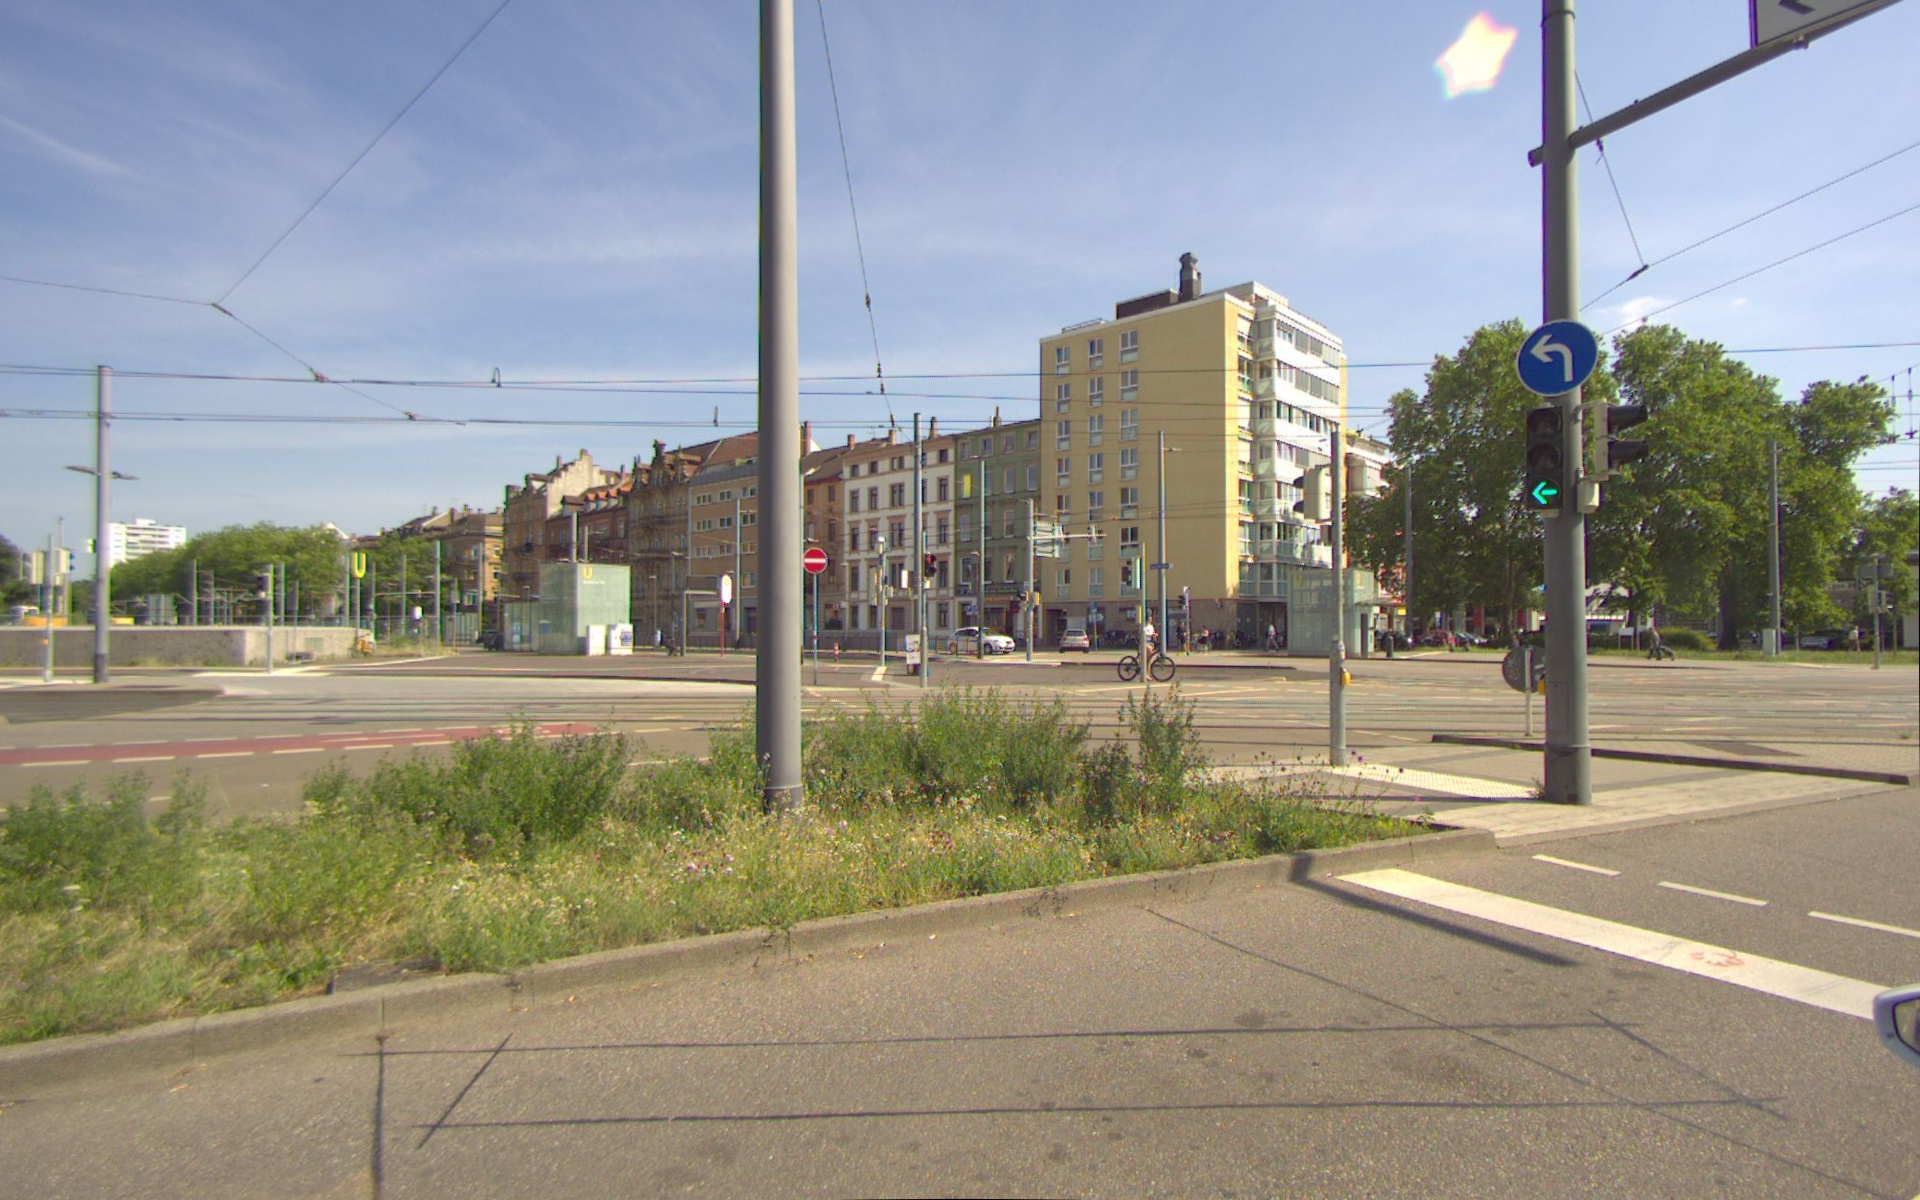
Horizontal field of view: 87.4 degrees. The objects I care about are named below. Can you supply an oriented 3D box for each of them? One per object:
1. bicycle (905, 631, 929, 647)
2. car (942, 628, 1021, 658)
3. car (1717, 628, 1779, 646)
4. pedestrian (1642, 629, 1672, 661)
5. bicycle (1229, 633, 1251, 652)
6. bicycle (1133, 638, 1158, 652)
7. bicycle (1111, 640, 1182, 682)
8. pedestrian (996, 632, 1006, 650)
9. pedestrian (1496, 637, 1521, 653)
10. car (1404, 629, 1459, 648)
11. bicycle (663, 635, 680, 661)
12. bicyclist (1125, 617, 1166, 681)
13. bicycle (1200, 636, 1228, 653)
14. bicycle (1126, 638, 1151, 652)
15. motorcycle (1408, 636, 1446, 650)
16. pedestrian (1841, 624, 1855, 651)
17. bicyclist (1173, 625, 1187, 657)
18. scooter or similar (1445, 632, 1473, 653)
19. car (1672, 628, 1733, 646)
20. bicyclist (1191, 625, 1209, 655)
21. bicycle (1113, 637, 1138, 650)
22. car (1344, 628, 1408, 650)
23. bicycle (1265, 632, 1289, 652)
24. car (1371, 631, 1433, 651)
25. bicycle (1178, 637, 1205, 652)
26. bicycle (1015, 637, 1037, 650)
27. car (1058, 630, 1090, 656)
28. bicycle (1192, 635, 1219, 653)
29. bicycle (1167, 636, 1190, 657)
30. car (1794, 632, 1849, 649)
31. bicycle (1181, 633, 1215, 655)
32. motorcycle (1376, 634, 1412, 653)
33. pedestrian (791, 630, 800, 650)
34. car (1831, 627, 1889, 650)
[{"bbox_3d":[-3.048,2.781,71.229,0.589,1.109,1.738,0,-2,43],"label":"bicycle"},{"bbox_3d":[1.114,2.277,53.656,4.067,1.417,1.749,-1,1,43],"label":"car"},{"bbox_3d":[70.316,3.251,89.698,1.977,1.572,3.967,1,-2,-31],"label":"car"},{"bbox_3d":[32.726,2.096,47.184,1.100,1.422,0.654,2,0,39],"label":"pedestrian"},{"bbox_3d":[18.344,2.778,65.752,0.534,1.201,1.878,-1,-2,45],"label":"bicycle"},{"bbox_3d":[12.727,3.069,68.928,0.579,0.928,1.737,0,-2,-39],"label":"bicycle"},{"bbox_3d":[5.035,1.644,27.258,0.745,1.098,1.828,2,-4,-40],"label":"bicycle"},{"bbox_3d":[3.188,3.180,78.278,0.637,1.392,0.524,-1,-2,43],"label":"pedestrian"},{"bbox_3d":[32.286,2.652,59.096,1.159,0.904,0.818,-1,-2,41],"label":"pedestrian"},{"bbox_3d":[38.889,3.166,82.869,3.684,1.358,1.733,1,0,44],"label":"car"},{"bbox_3d":[-13.185,2.178,45.886,0.408,1.085,1.651,0,0,-28],"label":"bicycle"},{"bbox_3d":[5.036,1.328,27.250,0.745,1.706,0.768,2,-4,-40],"label":"bicyclist"},{"bbox_3d":[16.486,2.867,65.192,0.579,1.056,1.737,0,-2,-40],"label":"bicycle"},{"bbox_3d":[12.218,3.052,68.696,0.579,0.928,1.737,0,-2,-39],"label":"bicycle"},{"bbox_3d":[28.310,2.587,60.942,1.997,0.853,0.641,0,-1,4],"label":"motorcycle"},{"bbox_3d":[53.444,2.269,60.441,0.455,1.617,0.393,2,0,-6],"label":"pedestrian"},{"bbox_3d":[12.099,2.261,55.262,0.575,1.757,0.615,-2,-3,37],"label":"bicyclist"},{"bbox_3d":[27.080,2.317,54.514,0.509,1.134,1.358,0,-1,-19],"label":"scooter or similar"},{"bbox_3d":[66.616,3.311,90.179,1.976,1.390,3.968,2,0,-30],"label":"car"},{"bbox_3d":[12.858,2.153,53.918,0.605,1.593,0.728,1,-3,-29],"label":"bicyclist"},{"bbox_3d":[11.525,3.038,70.026,1.733,0.928,0.580,-2,-2,44],"label":"bicycle"},{"bbox_3d":[30.502,2.836,73.660,3.945,1.459,1.879,1,0,44],"label":"car"},{"bbox_3d":[20.449,2.724,64.843,1.740,1.235,0.578,0,-1,-37],"label":"bicycle"},{"bbox_3d":[33.752,3.123,76.765,3.945,1.287,1.733,1,0,44],"label":"car"},{"bbox_3d":[15.294,2.944,66.334,0.579,0.978,1.736,0,-2,-41],"label":"bicycle"},{"bbox_3d":[4.980,3.297,76.291,1.755,0.977,0.412,-2,0,43],"label":"bicycle"},{"bbox_3d":[6.998,2.665,62.061,1.777,1.458,4.004,1,-4,4],"label":"car"},{"bbox_3d":[15.859,2.859,64.967,0.578,1.100,1.740,-3,0,-34],"label":"bicycle"},{"bbox_3d":[12.077,2.574,55.430,0.575,1.145,1.790,-2,-3,37],"label":"bicycle"},{"bbox_3d":[70.162,3.283,81.810,3.946,1.261,1.988,2,0,-25],"label":"car"},{"bbox_3d":[12.776,2.372,53.924,1.775,1.145,0.749,1,-2,-30],"label":"bicycle"},{"bbox_3d":[24.776,2.457,57.368,0.631,1.076,2.028,1,-2,-22],"label":"motorcycle"},{"bbox_3d":[-13.698,3.316,83.686,0.518,1.687,0.551,-2,-2,43],"label":"pedestrian"},{"bbox_3d":[71.636,3.096,79.950,3.946,1.706,1.987,2,0,-25],"label":"car"}]
